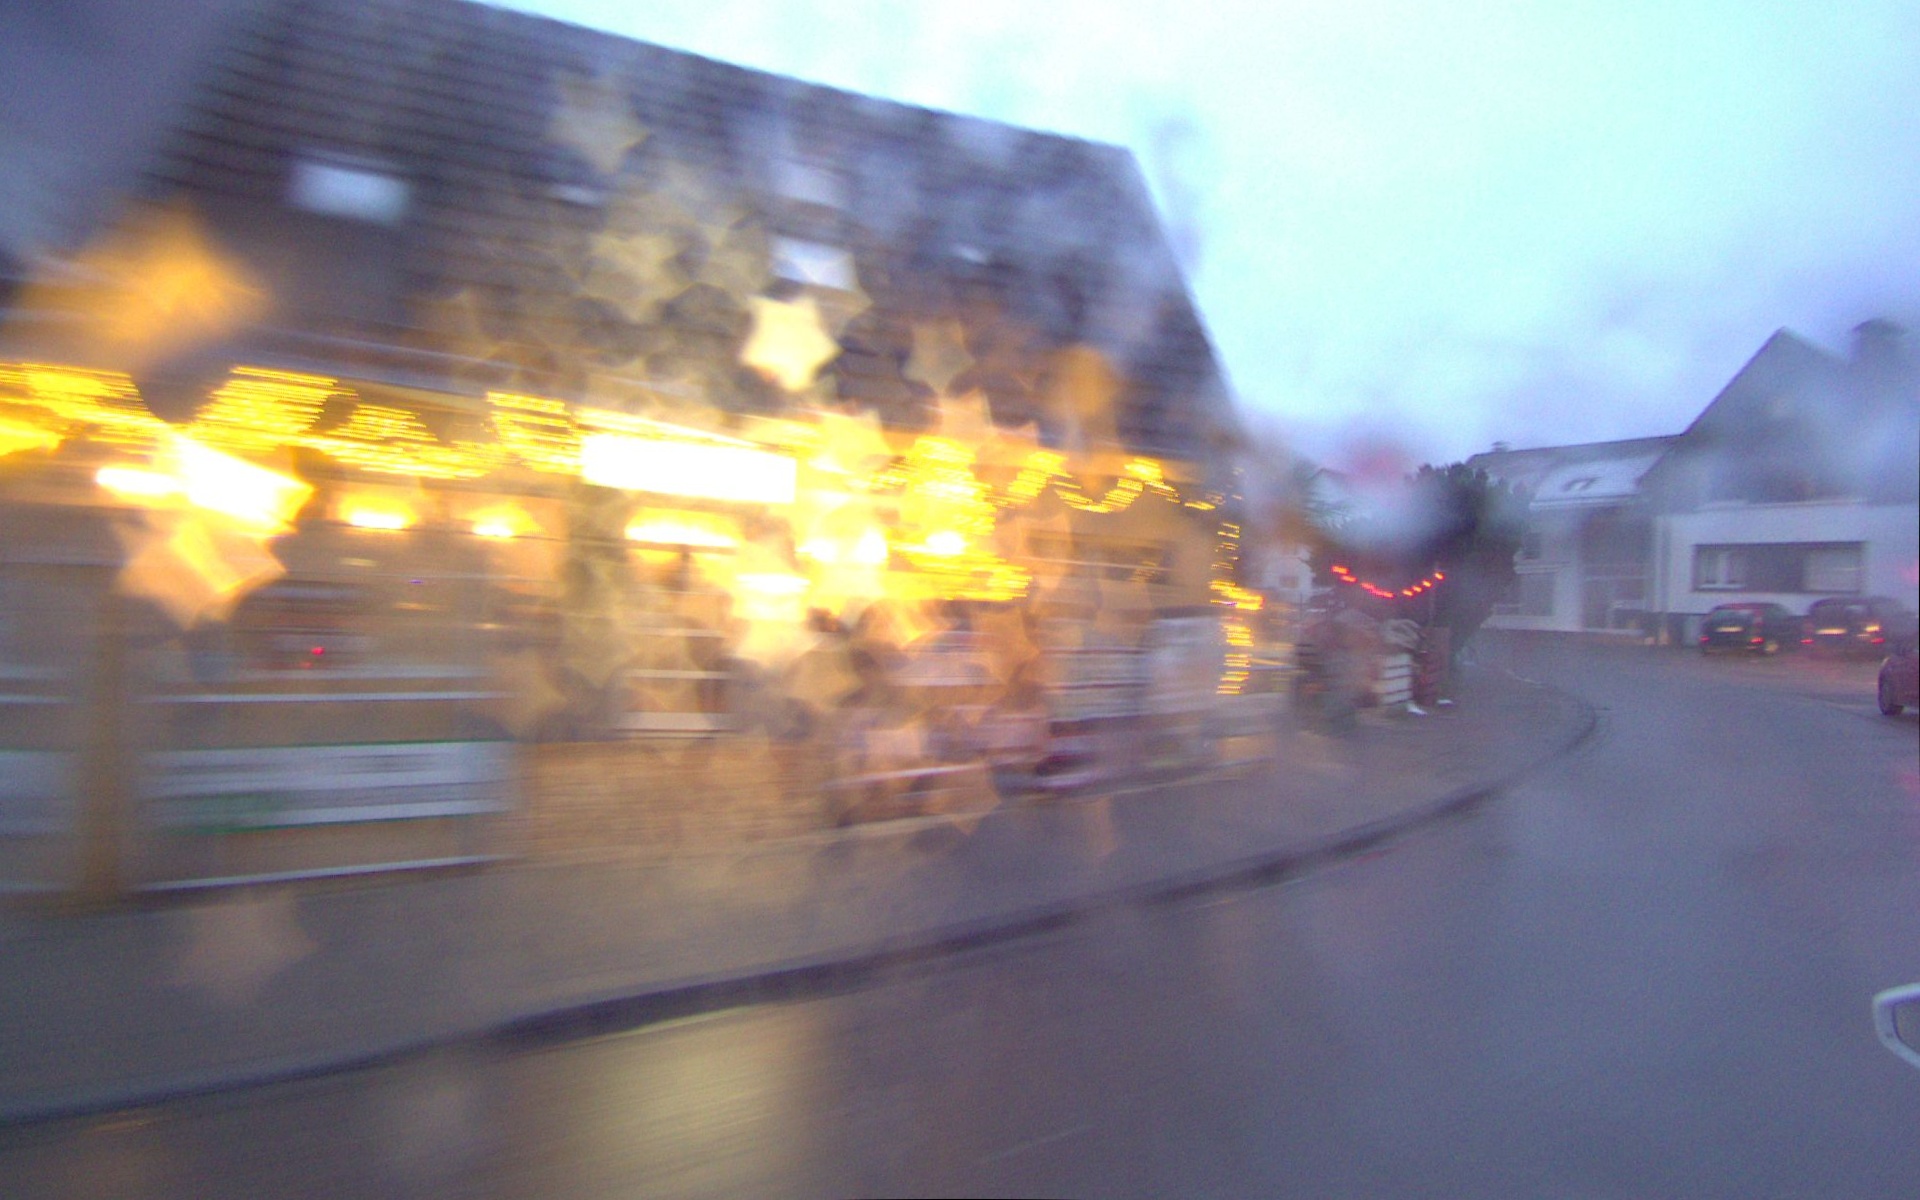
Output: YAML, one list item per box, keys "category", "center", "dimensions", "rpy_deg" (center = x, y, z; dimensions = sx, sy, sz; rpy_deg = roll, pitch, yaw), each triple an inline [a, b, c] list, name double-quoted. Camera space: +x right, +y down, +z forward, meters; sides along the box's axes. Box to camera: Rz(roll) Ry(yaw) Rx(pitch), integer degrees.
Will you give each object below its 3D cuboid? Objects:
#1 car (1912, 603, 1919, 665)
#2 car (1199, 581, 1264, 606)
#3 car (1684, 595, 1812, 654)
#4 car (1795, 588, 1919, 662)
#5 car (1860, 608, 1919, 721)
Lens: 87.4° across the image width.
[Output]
- category: "car"
  center: [25.012, 0.734, 24.467]
  dimensions: [3.995, 1.440, 1.799]
  rpy_deg: [-3, 2, -34]
- category: "car"
  center: [20.310, -0.525, 75.317]
  dimensions: [1.800, 1.650, 4.497]
  rpy_deg: [-1, 3, -40]
- category: "car"
  center: [23.367, 0.679, 29.756]
  dimensions: [3.852, 1.469, 1.871]
  rpy_deg: [-3, 2, -34]
- category: "car"
  center: [24.541, 0.615, 27.238]
  dimensions: [4.431, 1.683, 1.838]
  rpy_deg: [-3, 2, -35]
- category: "car"
  center: [14.033, 0.904, 13.960]
  dimensions: [1.524, 1.485, 3.690]
  rpy_deg: [4, 2, 31]
